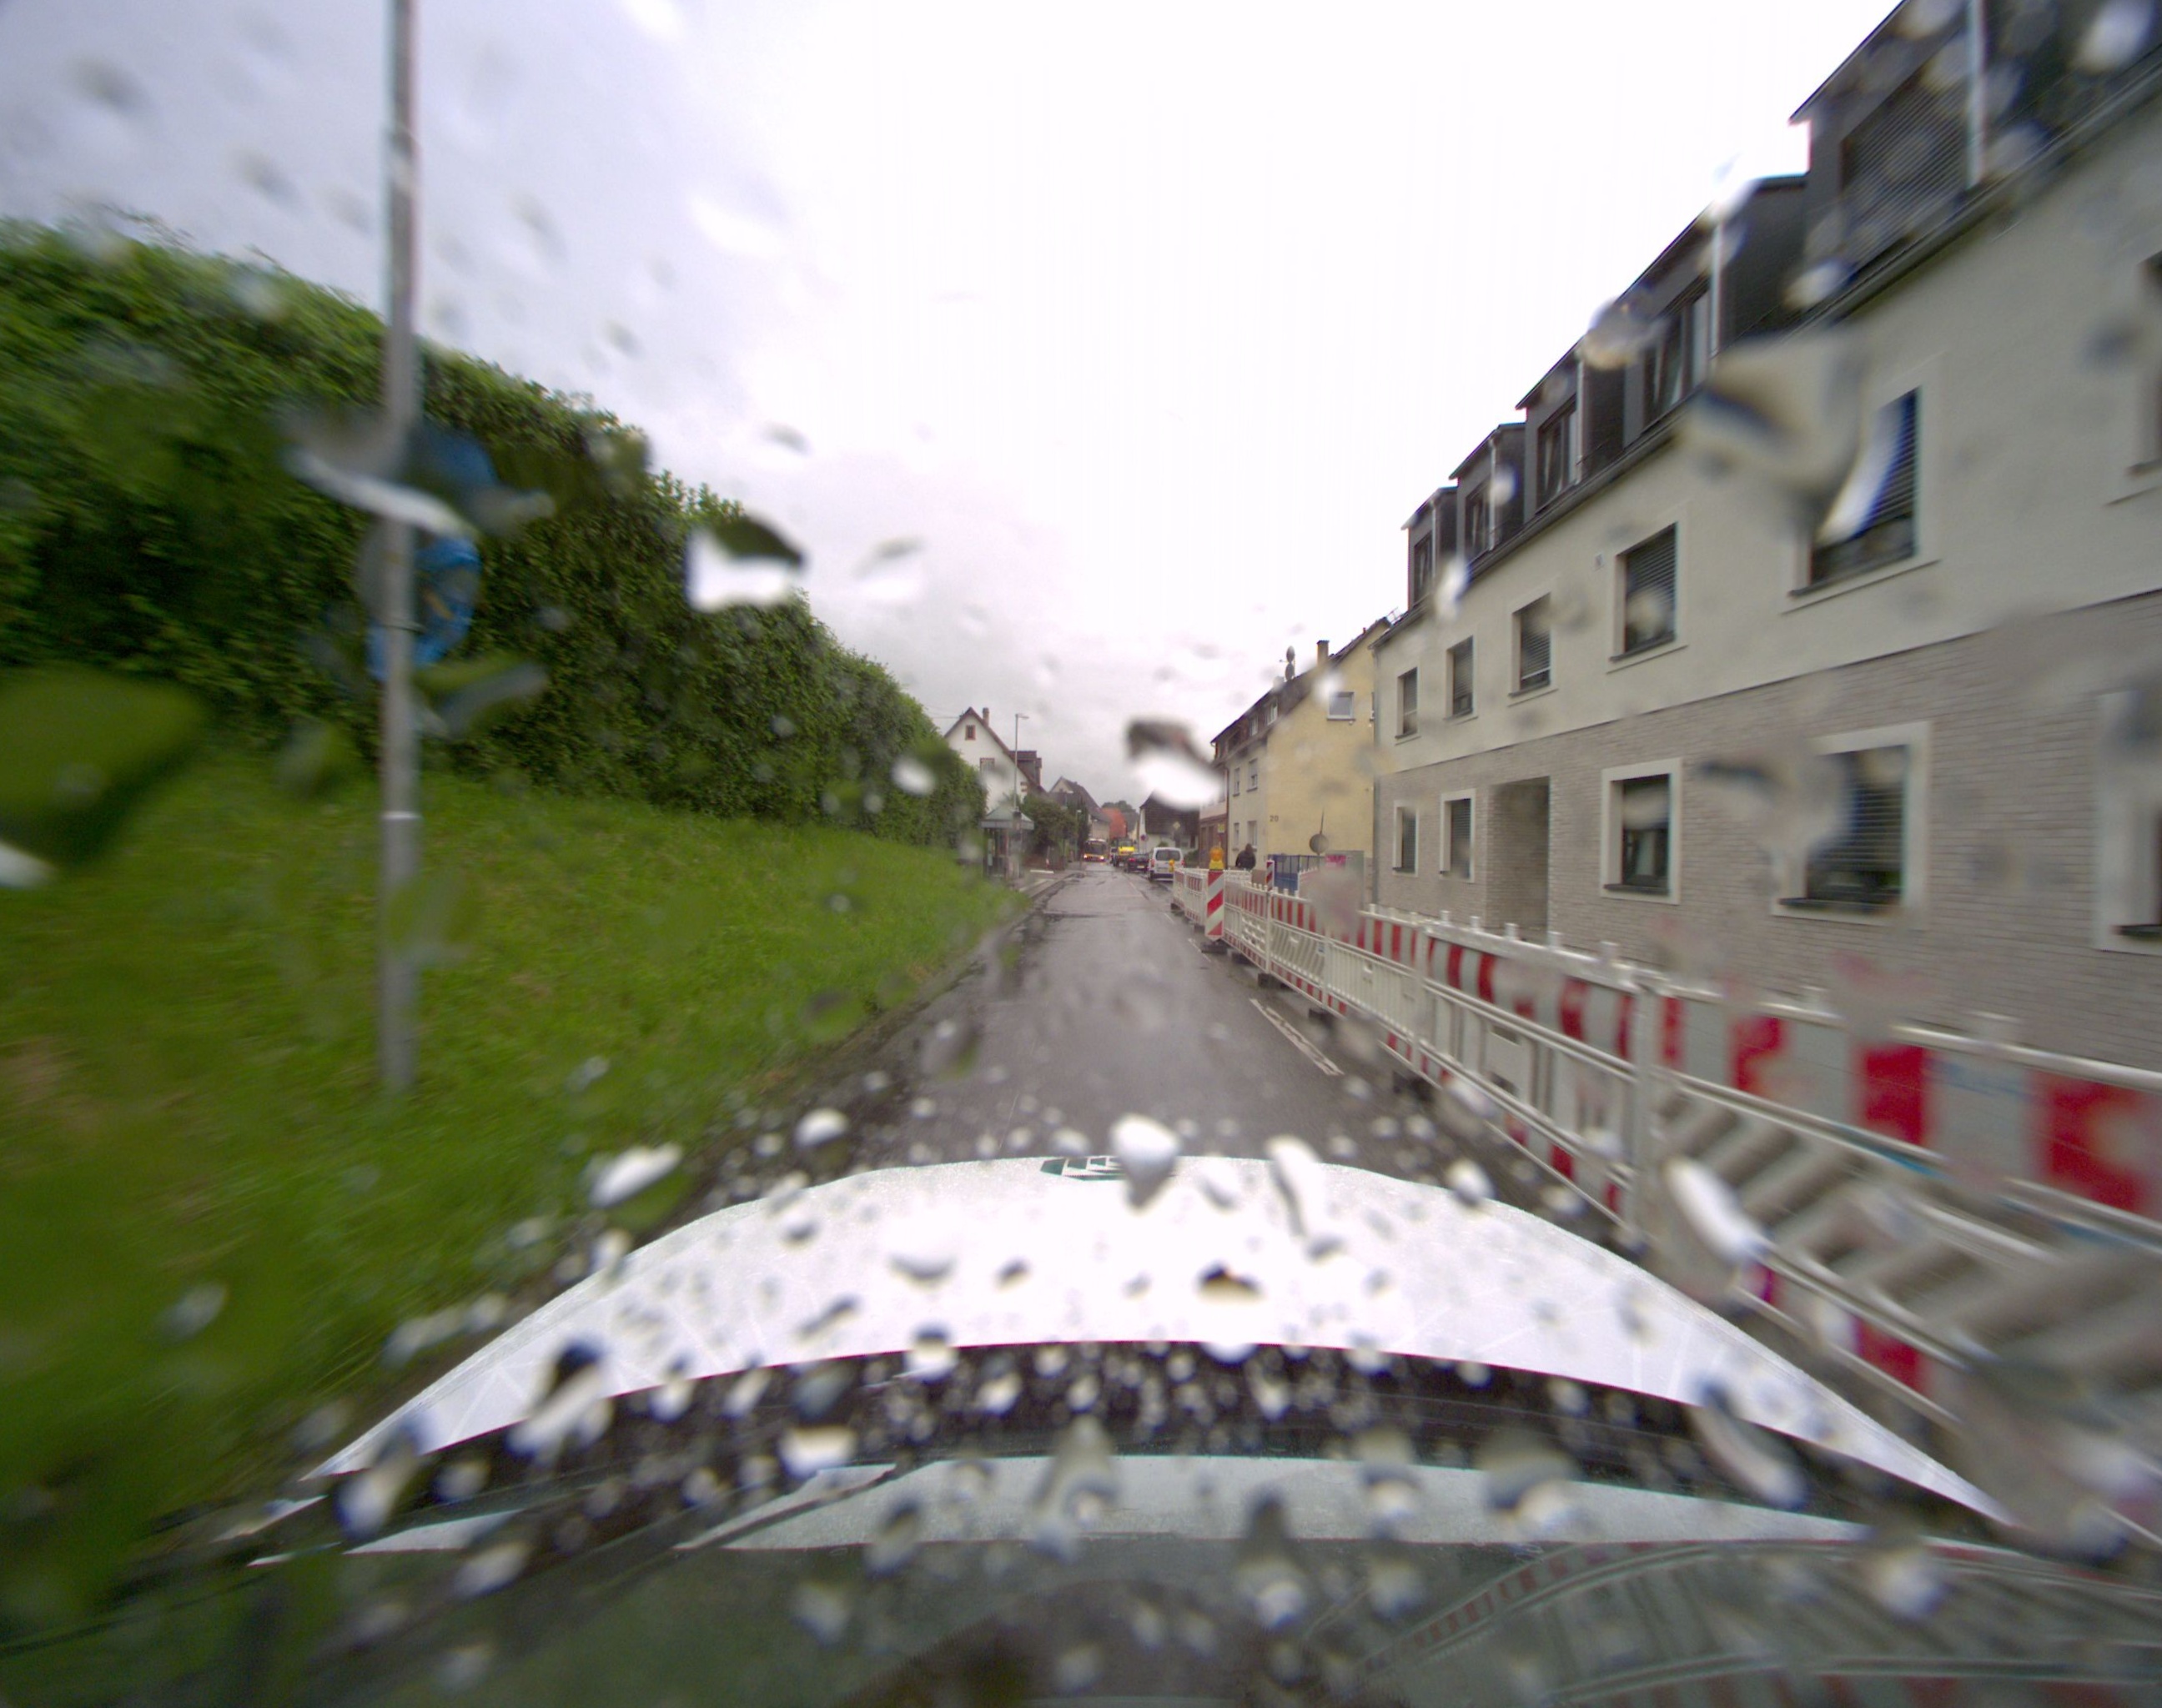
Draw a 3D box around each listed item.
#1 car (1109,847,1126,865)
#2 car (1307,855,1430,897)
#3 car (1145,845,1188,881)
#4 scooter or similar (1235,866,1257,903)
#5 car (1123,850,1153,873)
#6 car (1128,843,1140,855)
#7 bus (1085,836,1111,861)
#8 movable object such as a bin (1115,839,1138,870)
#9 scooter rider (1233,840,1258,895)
[{"bbox_3d":[4.331,0.177,95.685,1.719,2.007,3.980,2,0,5],"label":"car"},{"bbox_3d":[11.235,0.837,32.006,4.130,1.302,1.912,4,0,0],"label":"car"},{"bbox_3d":[4.496,0.436,43.306,1.888,1.793,3.813,2,0,0],"label":"car"},{"bbox_3d":[5.249,0.964,25.932,0.617,1.127,1.405,1,0,9],"label":"scooter or similar"},{"bbox_3d":[4.132,0.518,59.322,1.804,1.596,3.754,2,0,-1],"label":"car"},{"bbox_3d":[9.333,-0.907,142.719,1.983,2.014,4.006,-1,0,6],"label":"car"},{"bbox_3d":[2.382,-0.837,110.090,2.637,2.999,12.211,2,2,5],"label":"bus"},{"bbox_3d":[4.030,0.032,72.764,1.721,2.653,3.974,2,0,0],"label":"movable object such as a bin"},{"bbox_3d":[5.259,0.434,26.015,0.726,1.733,0.519,1,-1,8],"label":"scooter rider"}]
